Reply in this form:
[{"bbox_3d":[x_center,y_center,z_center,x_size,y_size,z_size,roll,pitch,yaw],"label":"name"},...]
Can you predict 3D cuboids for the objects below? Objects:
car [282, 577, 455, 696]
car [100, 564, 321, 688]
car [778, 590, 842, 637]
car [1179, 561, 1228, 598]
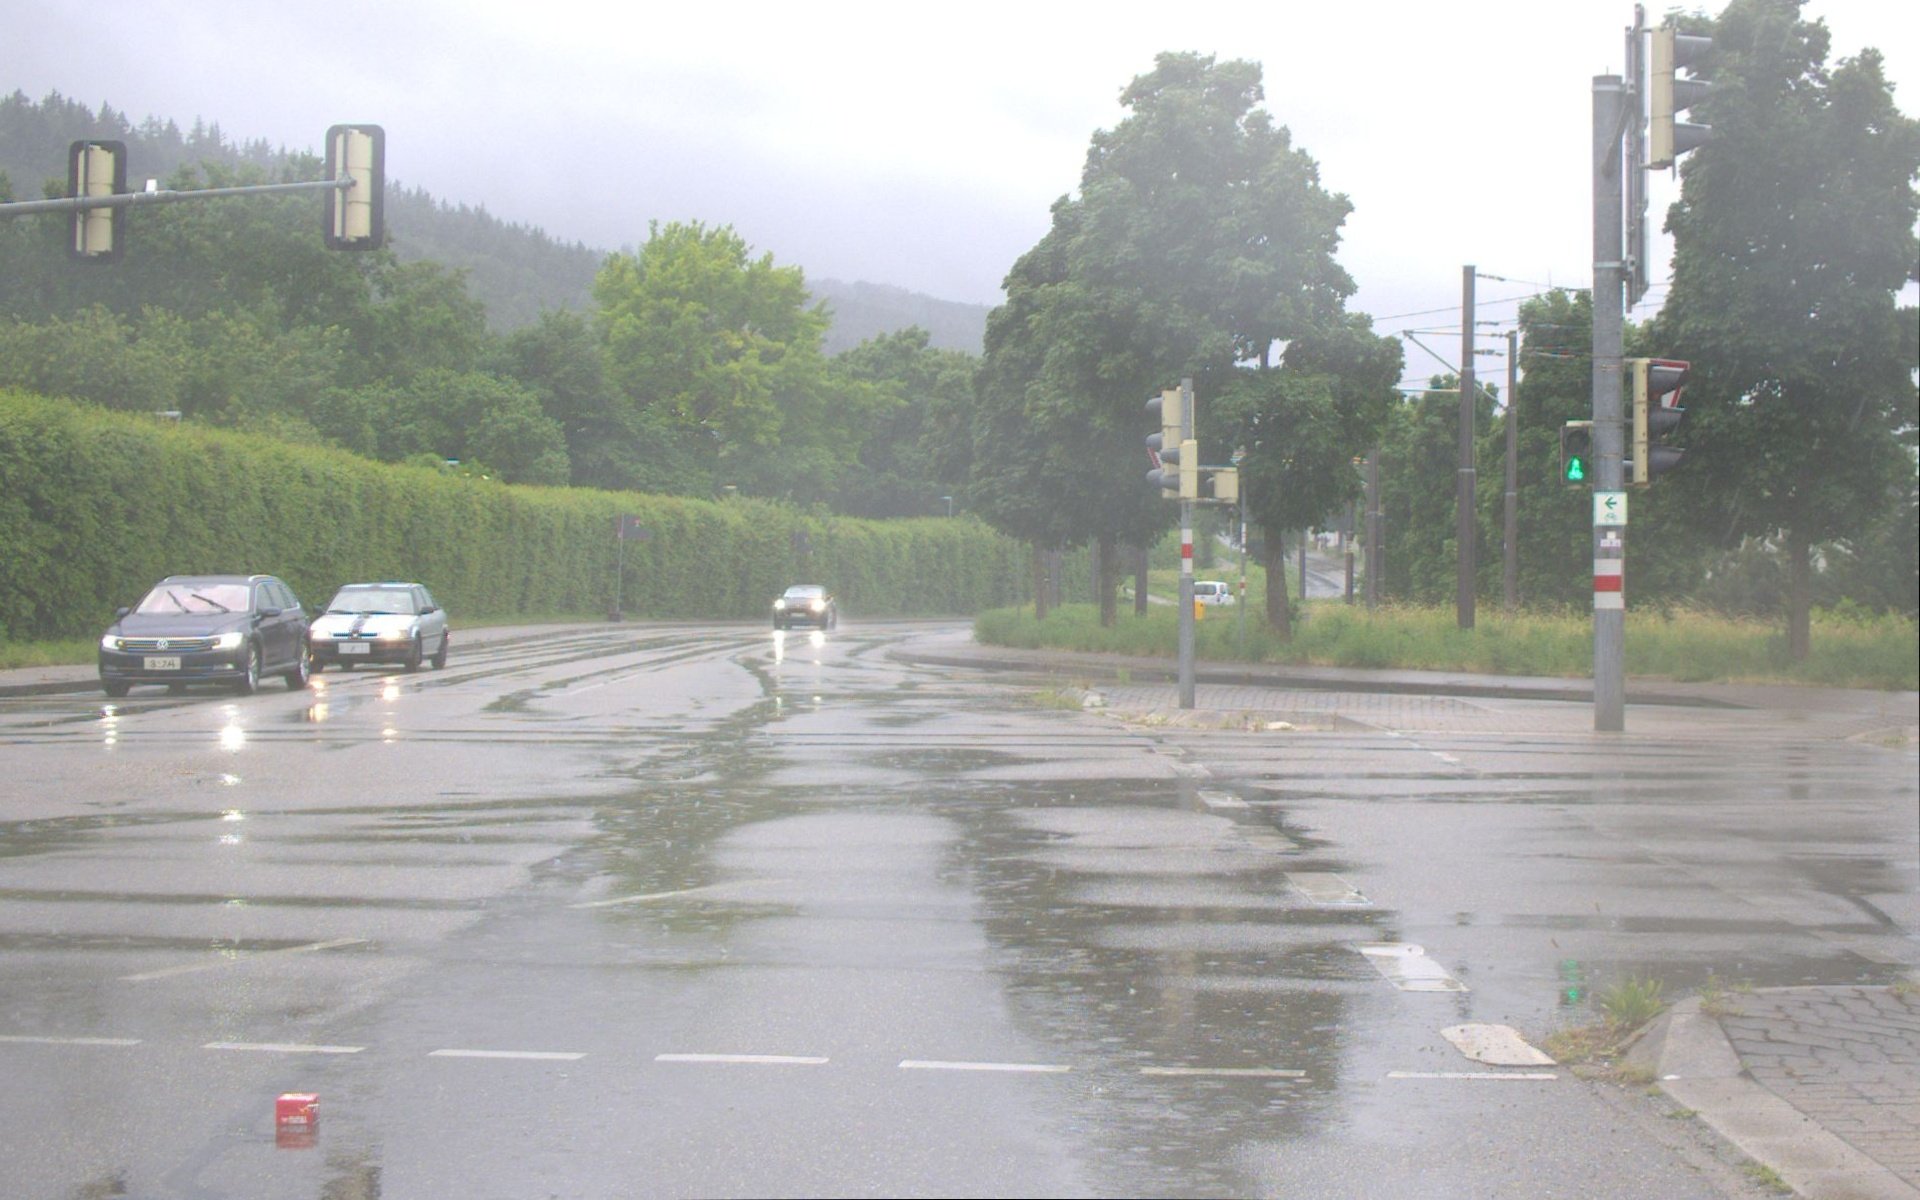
[{"bbox_3d":[-9.194,0.537,53.766,2.036,1.702,4.066,1,1,-1],"label":"car"},{"bbox_3d":[-9.296,0.284,42.978,1.708,1.461,4.453,0,1,1],"label":"car"},{"bbox_3d":[-5.083,0.460,116.962,1.785,1.499,4.060,2,0,2],"label":"car"},{"bbox_3d":[12.932,-1.113,182.490,1.954,1.897,4.118,0,1,13],"label":"car"}]
